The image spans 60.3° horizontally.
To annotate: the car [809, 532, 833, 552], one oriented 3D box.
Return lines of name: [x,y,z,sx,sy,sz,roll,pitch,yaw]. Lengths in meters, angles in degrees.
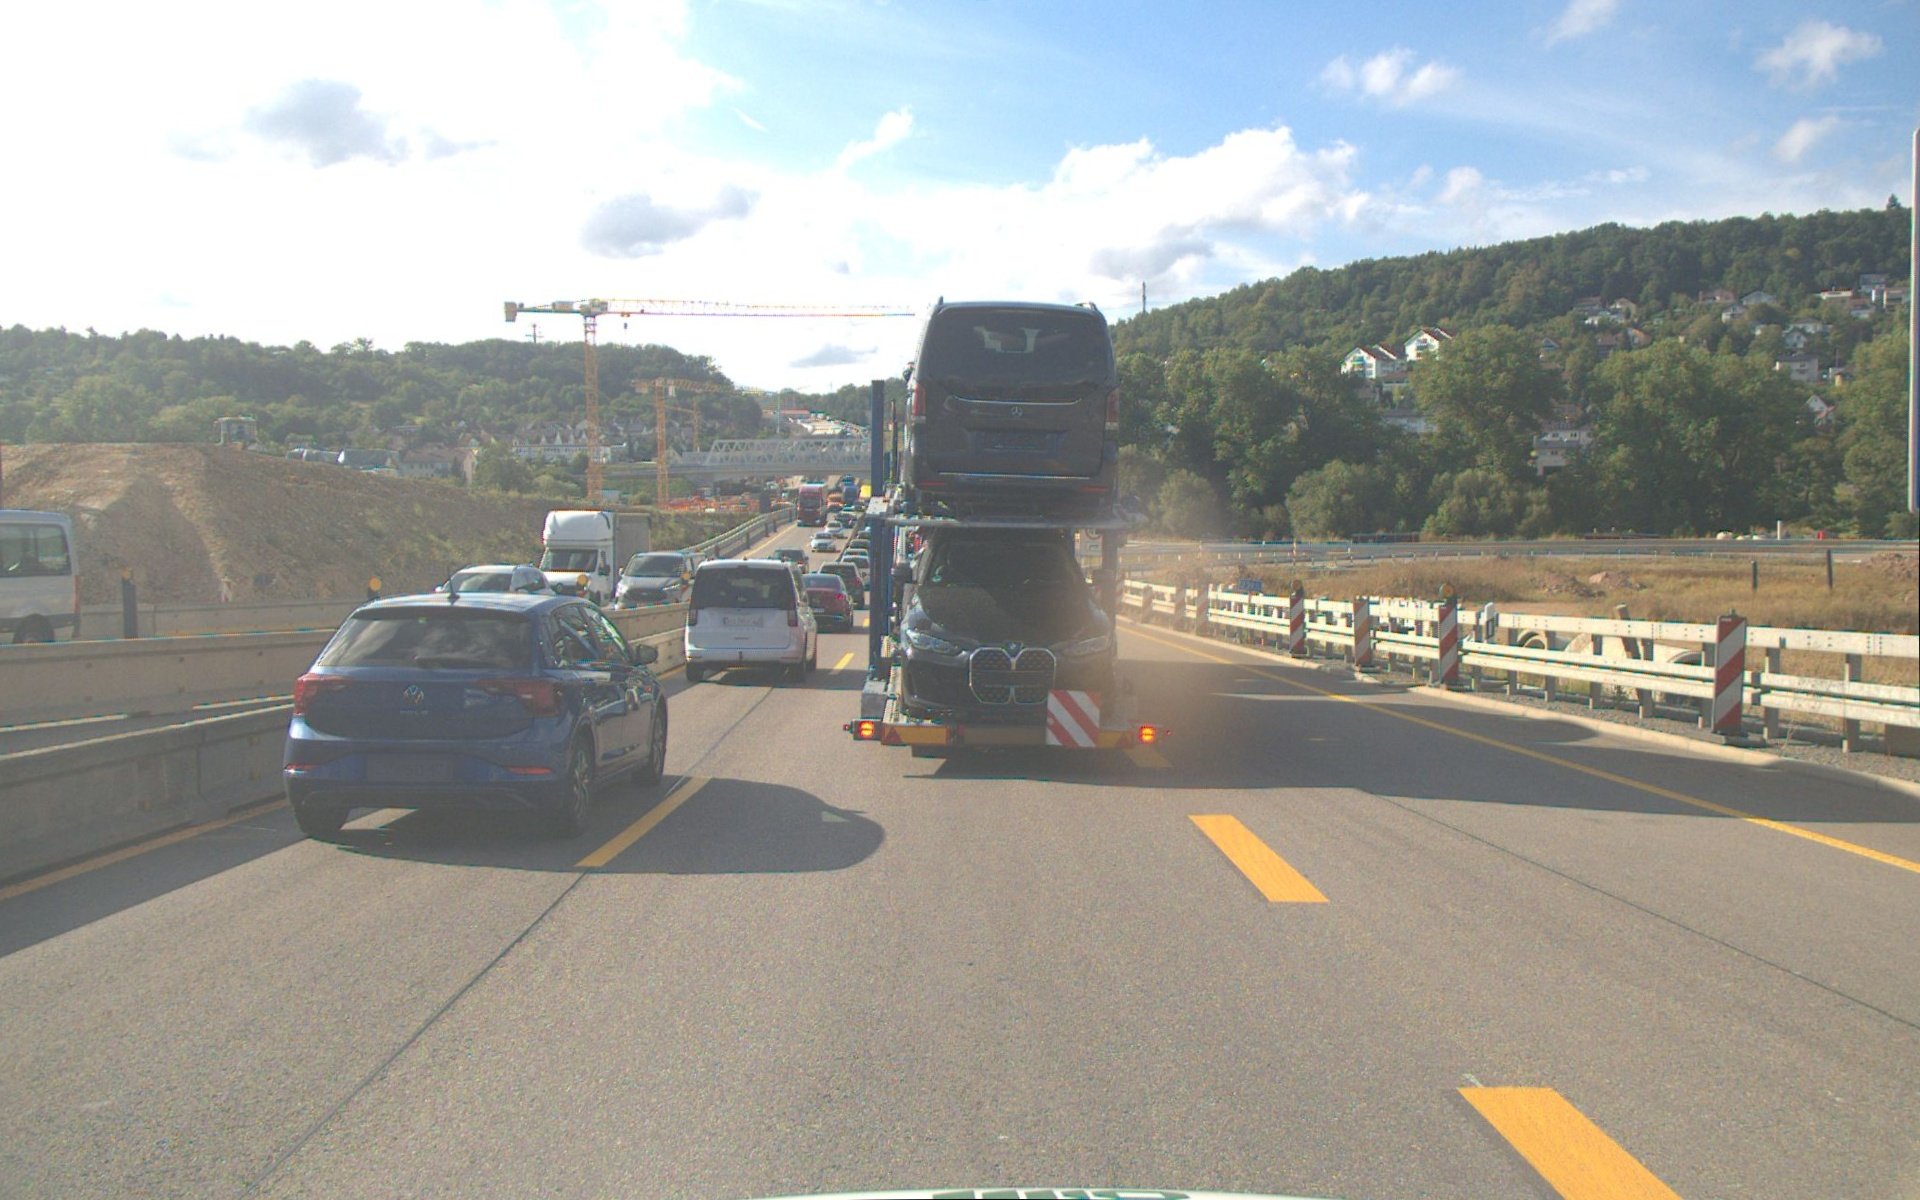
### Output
car: [-10.706,-4.437,127.857,1.816,1.465,4.555,1,1,-4]

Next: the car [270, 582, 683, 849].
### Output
car: [-2.992,0.628,11.098,1.687,1.447,3.999,1,0,-2]

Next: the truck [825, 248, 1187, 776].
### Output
truck: [0.341,-0.803,22.320,2.697,4.023,18.889,2,1,0]

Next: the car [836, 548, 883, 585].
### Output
car: [-4.722,-1.584,78.077,1.953,1.695,4.000,1,1,-1]

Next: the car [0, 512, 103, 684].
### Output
car: [-14.829,-0.048,23.001,2.210,2.444,5.871,1,0,7]

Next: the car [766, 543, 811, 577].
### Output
car: [-8.627,-2.020,83.678,1.815,1.664,4.748,1,1,-1]

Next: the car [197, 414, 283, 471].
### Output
car: [-35.278,-7.686,81.196,1.954,2.177,5.319,-4,0,-2]

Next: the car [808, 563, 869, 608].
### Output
car: [-4.406,-0.508,60.606,1.953,1.579,3.999,1,0,-1]

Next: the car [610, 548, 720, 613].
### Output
car: [-8.595,-0.588,48.623,2.081,1.796,5.033,1,1,3]

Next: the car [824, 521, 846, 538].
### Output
car: [-11.280,-6.384,149.600,1.718,1.465,3.805,1,1,0]

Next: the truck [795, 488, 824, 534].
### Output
truck: [-15.719,-9.268,173.145,2.857,4.463,6.281,2,1,-5]

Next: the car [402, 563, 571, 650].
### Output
car: [-9.963,0.084,35.165,2.081,1.703,4.275,1,1,4]

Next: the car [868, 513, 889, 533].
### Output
car: [-7.440,-6.989,150.476,1.808,1.677,4.501,1,1,-4]

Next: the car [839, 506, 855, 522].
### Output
car: [-13.025,-9.900,190.940,1.808,1.677,4.501,1,1,-5]

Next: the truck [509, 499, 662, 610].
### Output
truck: [-12.162,-1.381,54.461,2.643,3.369,7.542,1,0,5]

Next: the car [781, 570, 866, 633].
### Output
car: [-3.570,0.045,44.070,1.953,1.583,4.400,1,0,-1]

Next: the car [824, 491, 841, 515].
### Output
car: [-17.475,-13.236,226.777,1.953,2.930,6.063,1,1,-1]

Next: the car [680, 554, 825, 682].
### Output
car: [-3.176,0.271,26.014,1.786,1.823,3.999,1,0,0]
